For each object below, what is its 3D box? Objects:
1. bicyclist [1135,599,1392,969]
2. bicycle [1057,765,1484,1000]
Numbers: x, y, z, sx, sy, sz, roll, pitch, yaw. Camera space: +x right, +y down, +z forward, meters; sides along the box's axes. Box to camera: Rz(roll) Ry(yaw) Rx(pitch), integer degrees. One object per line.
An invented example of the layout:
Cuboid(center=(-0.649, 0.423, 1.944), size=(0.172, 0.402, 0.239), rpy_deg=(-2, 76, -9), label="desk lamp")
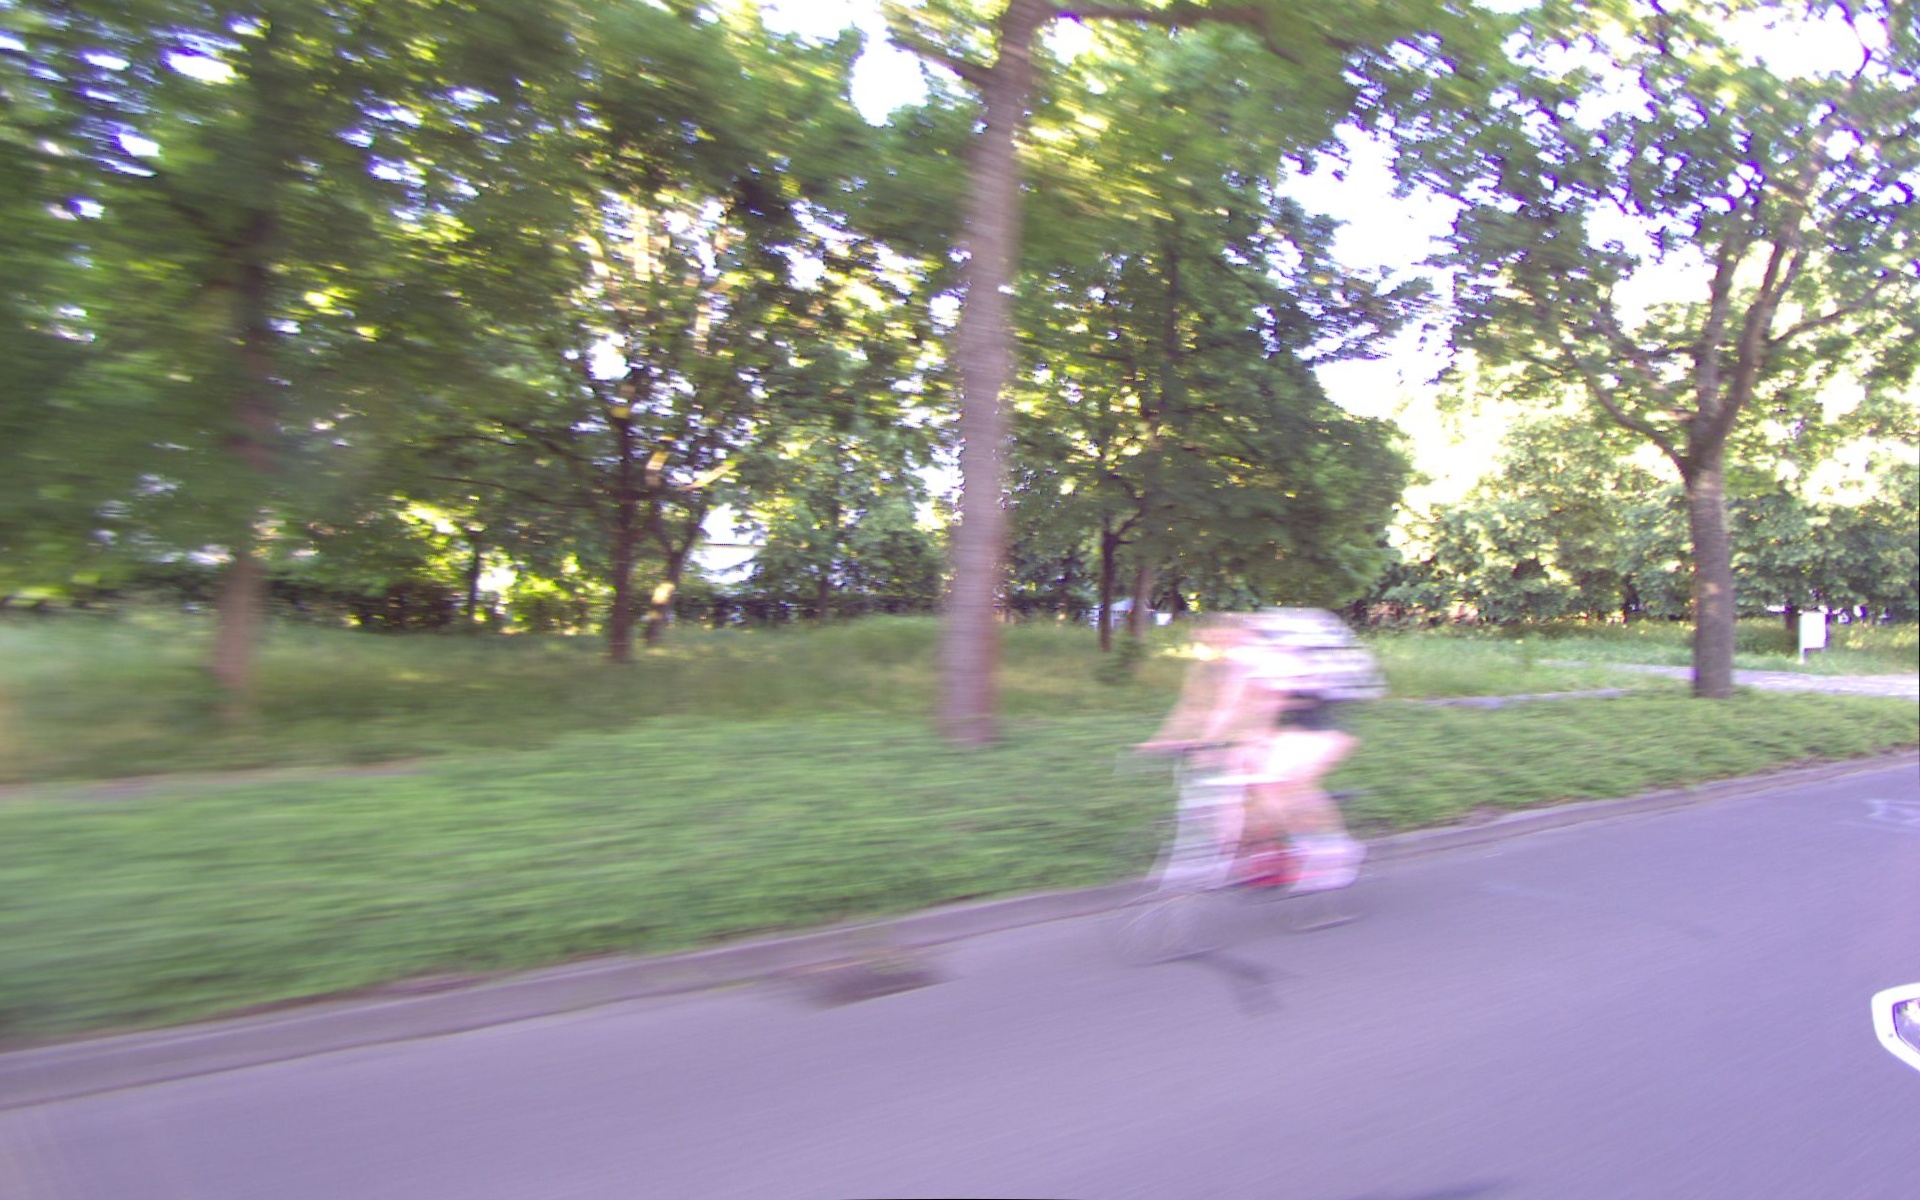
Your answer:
Cuboid(center=(1.438, 0.800, 4.800), size=(0.989, 1.575, 0.631), rpy_deg=(0, -2, -26), label="bicyclist")
Cuboid(center=(1.529, 1.269, 4.832), size=(2.097, 0.751, 0.637), rpy_deg=(1, -3, -26), label="bicycle")
